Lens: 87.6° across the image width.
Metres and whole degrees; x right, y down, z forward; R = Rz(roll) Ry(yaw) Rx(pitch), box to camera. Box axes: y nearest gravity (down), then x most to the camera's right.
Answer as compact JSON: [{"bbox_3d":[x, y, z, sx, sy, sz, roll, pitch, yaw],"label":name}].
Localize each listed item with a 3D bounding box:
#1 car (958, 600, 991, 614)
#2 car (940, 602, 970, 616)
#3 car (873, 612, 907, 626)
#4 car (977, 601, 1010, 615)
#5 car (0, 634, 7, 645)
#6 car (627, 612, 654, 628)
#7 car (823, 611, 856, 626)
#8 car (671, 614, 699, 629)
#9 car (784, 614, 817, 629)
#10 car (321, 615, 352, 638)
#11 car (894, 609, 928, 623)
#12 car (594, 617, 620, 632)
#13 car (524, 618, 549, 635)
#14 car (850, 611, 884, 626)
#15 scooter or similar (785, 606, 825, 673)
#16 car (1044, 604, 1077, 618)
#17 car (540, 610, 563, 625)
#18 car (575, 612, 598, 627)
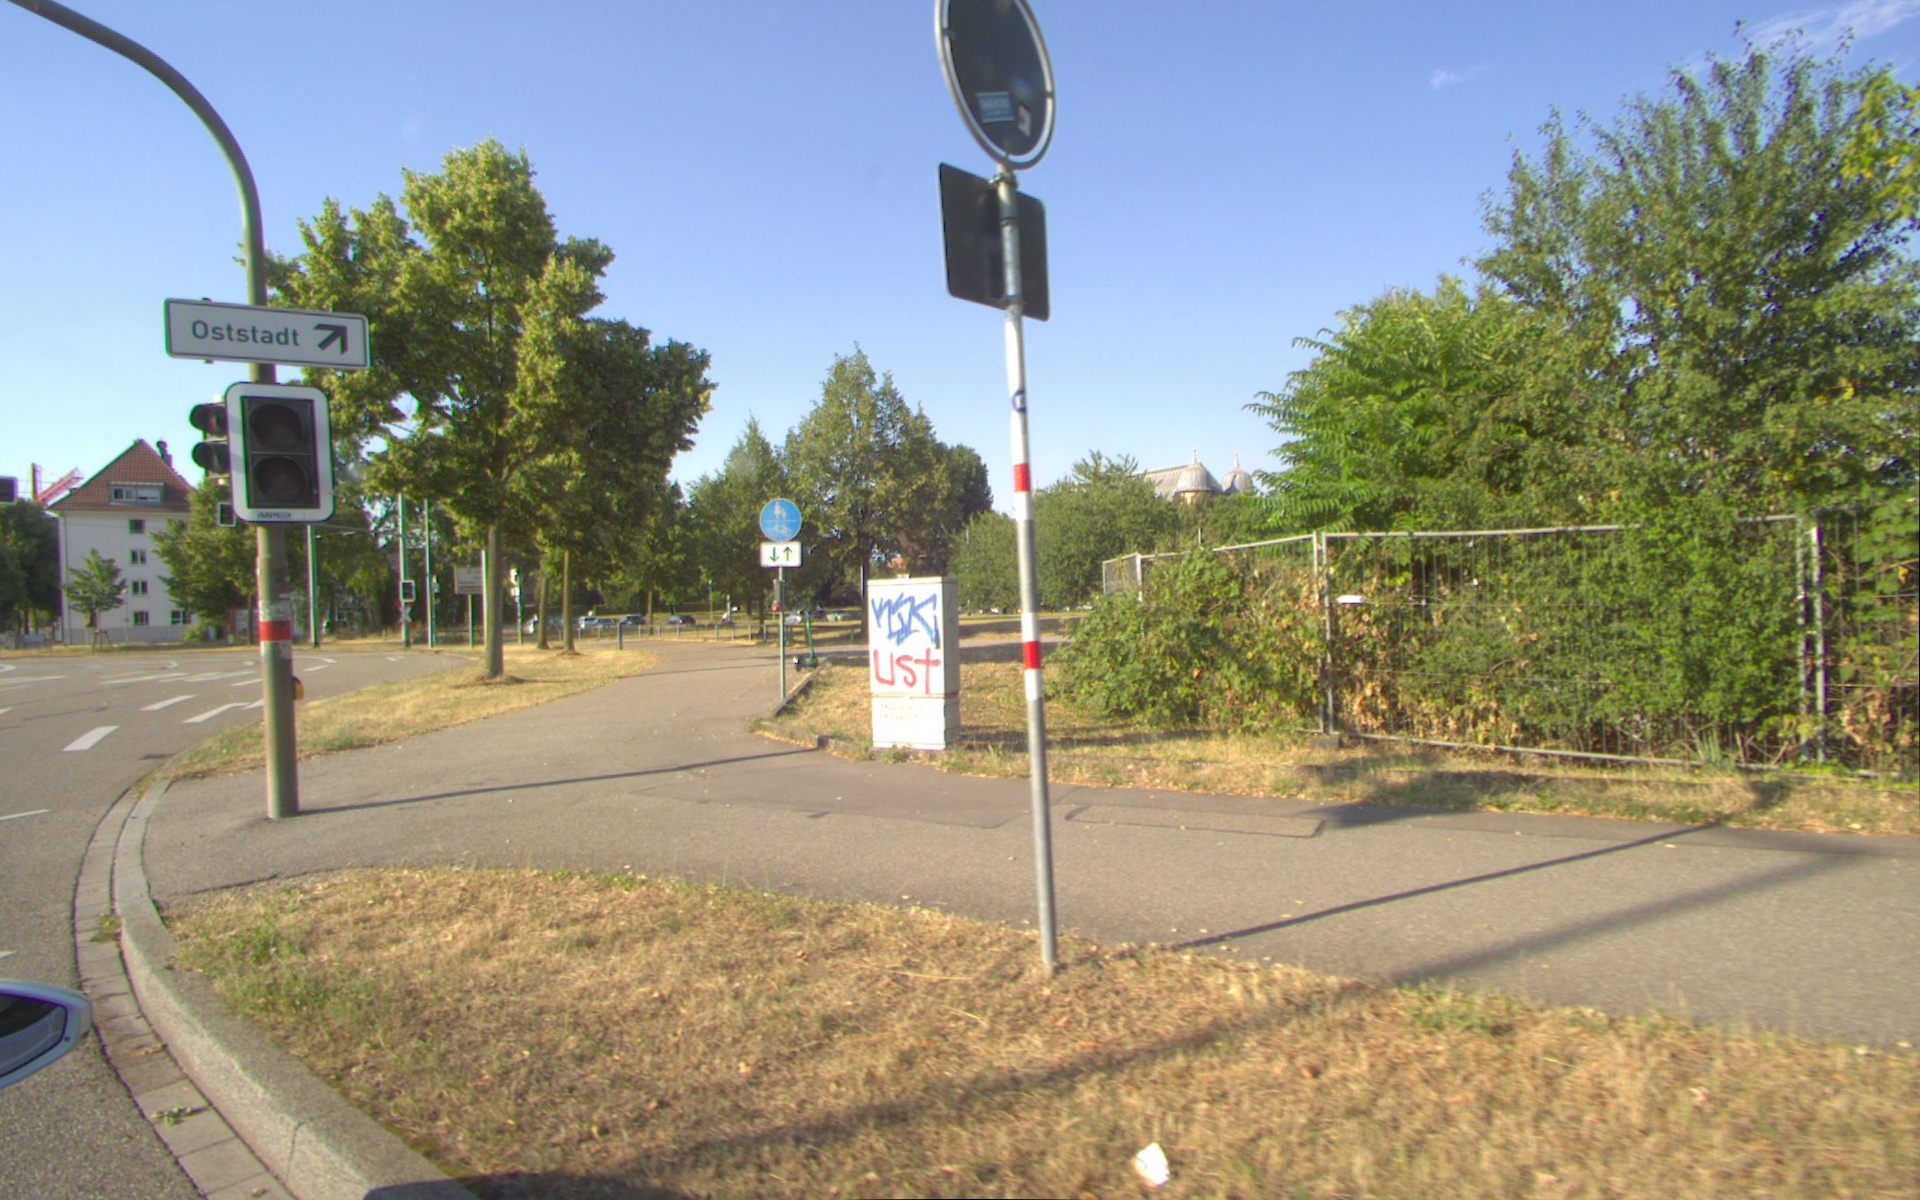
[{"bbox_3d":[1.592,0.819,111.347,1.803,1.421,3.976,-1,-1,-33],"label":"car"},{"bbox_3d":[-0.683,1.137,123.520,1.803,1.694,3.976,-1,-1,-33],"label":"car"},{"bbox_3d":[-7.315,1.984,104.956,1.803,1.421,3.976,-1,-1,-33],"label":"car"},{"bbox_3d":[3.739,0.906,113.056,1.803,1.421,3.976,-1,-1,-33],"label":"car"},{"bbox_3d":[-119.570,4.930,124.146,1.440,1.317,3.526,-1,0,-33],"label":"car"},{"bbox_3d":[-28.872,1.815,90.452,1.583,1.420,3.950,-1,-1,-29],"label":"car"},{"bbox_3d":[-12.385,1.898,102.680,1.803,1.421,3.976,-1,-1,-33],"label":"car"},{"bbox_3d":[-25.406,2.010,92.426,1.583,1.327,3.950,-1,-1,-29],"label":"car"},{"bbox_3d":[-15.927,2.155,99.863,1.803,1.421,3.976,-1,-1,-33],"label":"car"},{"bbox_3d":[-48.272,2.040,77.550,1.751,1.639,3.950,-1,-1,-29],"label":"car"},{"bbox_3d":[-5.245,1.732,106.530,1.803,1.421,3.976,-1,-1,-33],"label":"car"},{"bbox_3d":[-31.528,2.207,89.344,1.583,1.237,3.950,-1,-1,-29],"label":"car"},{"bbox_3d":[-36.465,2.270,86.218,1.583,1.420,3.950,-1,-1,-29],"label":"car"},{"bbox_3d":[-9.697,1.954,103.771,1.803,1.421,3.976,-2,0,-33],"label":"car"},{"bbox_3d":[-2.934,0.725,19.002,0.336,1.175,1.169,-4,2,8],"label":"scooter or similar"},{"bbox_3d":[11.869,1.288,118.496,1.803,1.589,3.976,-1,-1,-33],"label":"car"},{"bbox_3d":[-39.763,1.715,97.485,1.583,1.420,3.950,-1,-1,-29],"label":"car"},{"bbox_3d":[-37.088,1.935,99.400,1.583,1.420,3.950,-1,-1,-29],"label":"car"}]
